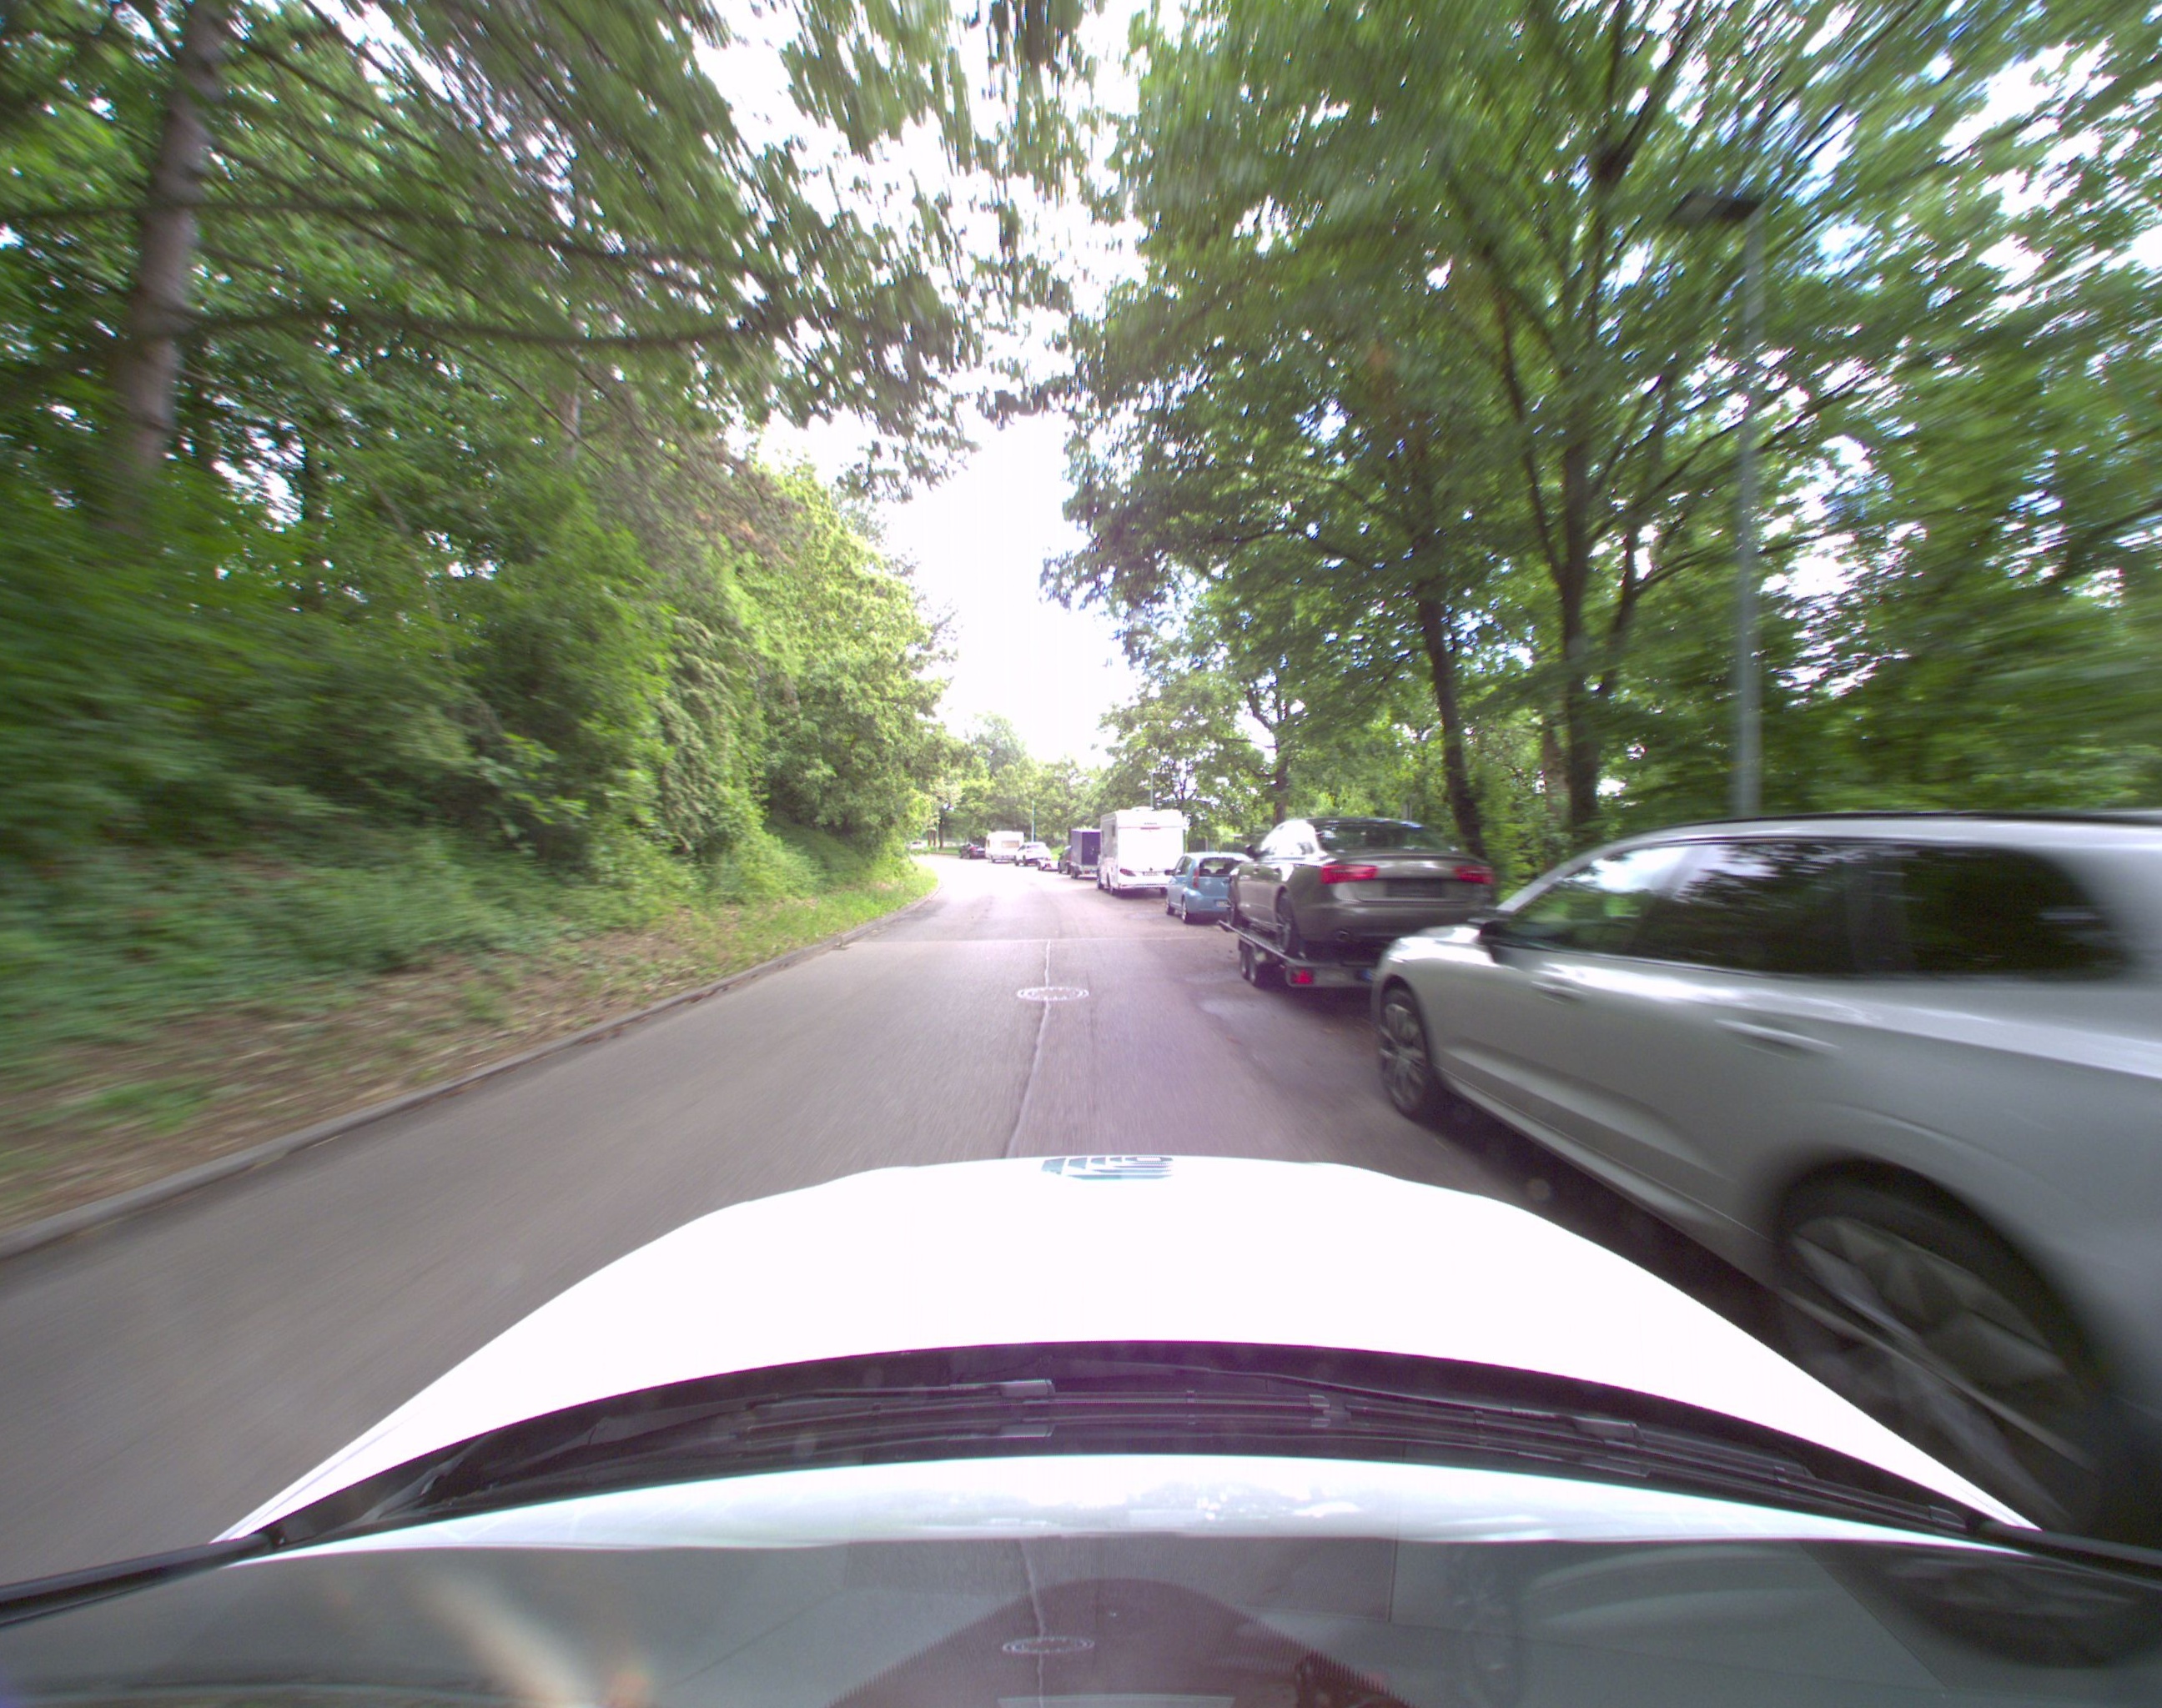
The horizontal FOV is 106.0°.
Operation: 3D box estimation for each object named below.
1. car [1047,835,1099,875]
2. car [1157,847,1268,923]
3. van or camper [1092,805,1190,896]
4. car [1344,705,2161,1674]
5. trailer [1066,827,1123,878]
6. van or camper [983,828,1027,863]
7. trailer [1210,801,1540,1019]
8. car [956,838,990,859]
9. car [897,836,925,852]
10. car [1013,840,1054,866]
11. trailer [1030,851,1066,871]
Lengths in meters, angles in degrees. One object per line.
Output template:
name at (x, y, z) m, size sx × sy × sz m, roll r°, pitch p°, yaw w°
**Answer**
car at (-0.491, -0.001, 45.362) m, size 1.996 × 2.025 × 3.983 m, roll -3°, pitch 2°, yaw -13°
car at (2.907, 0.621, 18.768) m, size 1.795 × 1.562 × 3.832 m, roll 0°, pitch 1°, yaw -2°
van or camper at (1.952, -0.106, 29.189) m, size 2.478 × 2.876 × 6.878 m, roll 0°, pitch 0°, yaw -4°
car at (2.712, 0.617, 3.234) m, size 1.787 × 1.670 × 4.498 m, roll 0°, pitch -1°, yaw -1°
trailer at (0.603, -0.069, 40.104) m, size 1.995 × 2.398 × 3.983 m, roll 0°, pitch 0°, yaw -12°
van or camper at (-6.299, -0.699, 66.739) m, size 2.535 × 2.697 × 4.545 m, roll -1°, pitch 1°, yaw -20°
trailer at (2.874, 0.434, 9.390) m, size 1.972 × 1.811 × 5.148 m, roll 0°, pitch 1°, yaw 0°
car at (-10.093, -0.557, 76.103) m, size 2.004 × 1.869 × 3.967 m, roll -2°, pitch 2°, yaw -25°
car at (-19.817, -1.133, 94.844) m, size 2.006 × 1.754 × 3.962 m, roll 0°, pitch 0°, yaw -30°
car at (-3.457, -0.103, 58.407) m, size 2.040 × 1.803 × 4.059 m, roll -1°, pitch 1°, yaw -18°
trailer at (-2.044, 0.405, 49.215) m, size 1.652 × 1.086 × 3.987 m, roll -2°, pitch 1°, yaw -10°
